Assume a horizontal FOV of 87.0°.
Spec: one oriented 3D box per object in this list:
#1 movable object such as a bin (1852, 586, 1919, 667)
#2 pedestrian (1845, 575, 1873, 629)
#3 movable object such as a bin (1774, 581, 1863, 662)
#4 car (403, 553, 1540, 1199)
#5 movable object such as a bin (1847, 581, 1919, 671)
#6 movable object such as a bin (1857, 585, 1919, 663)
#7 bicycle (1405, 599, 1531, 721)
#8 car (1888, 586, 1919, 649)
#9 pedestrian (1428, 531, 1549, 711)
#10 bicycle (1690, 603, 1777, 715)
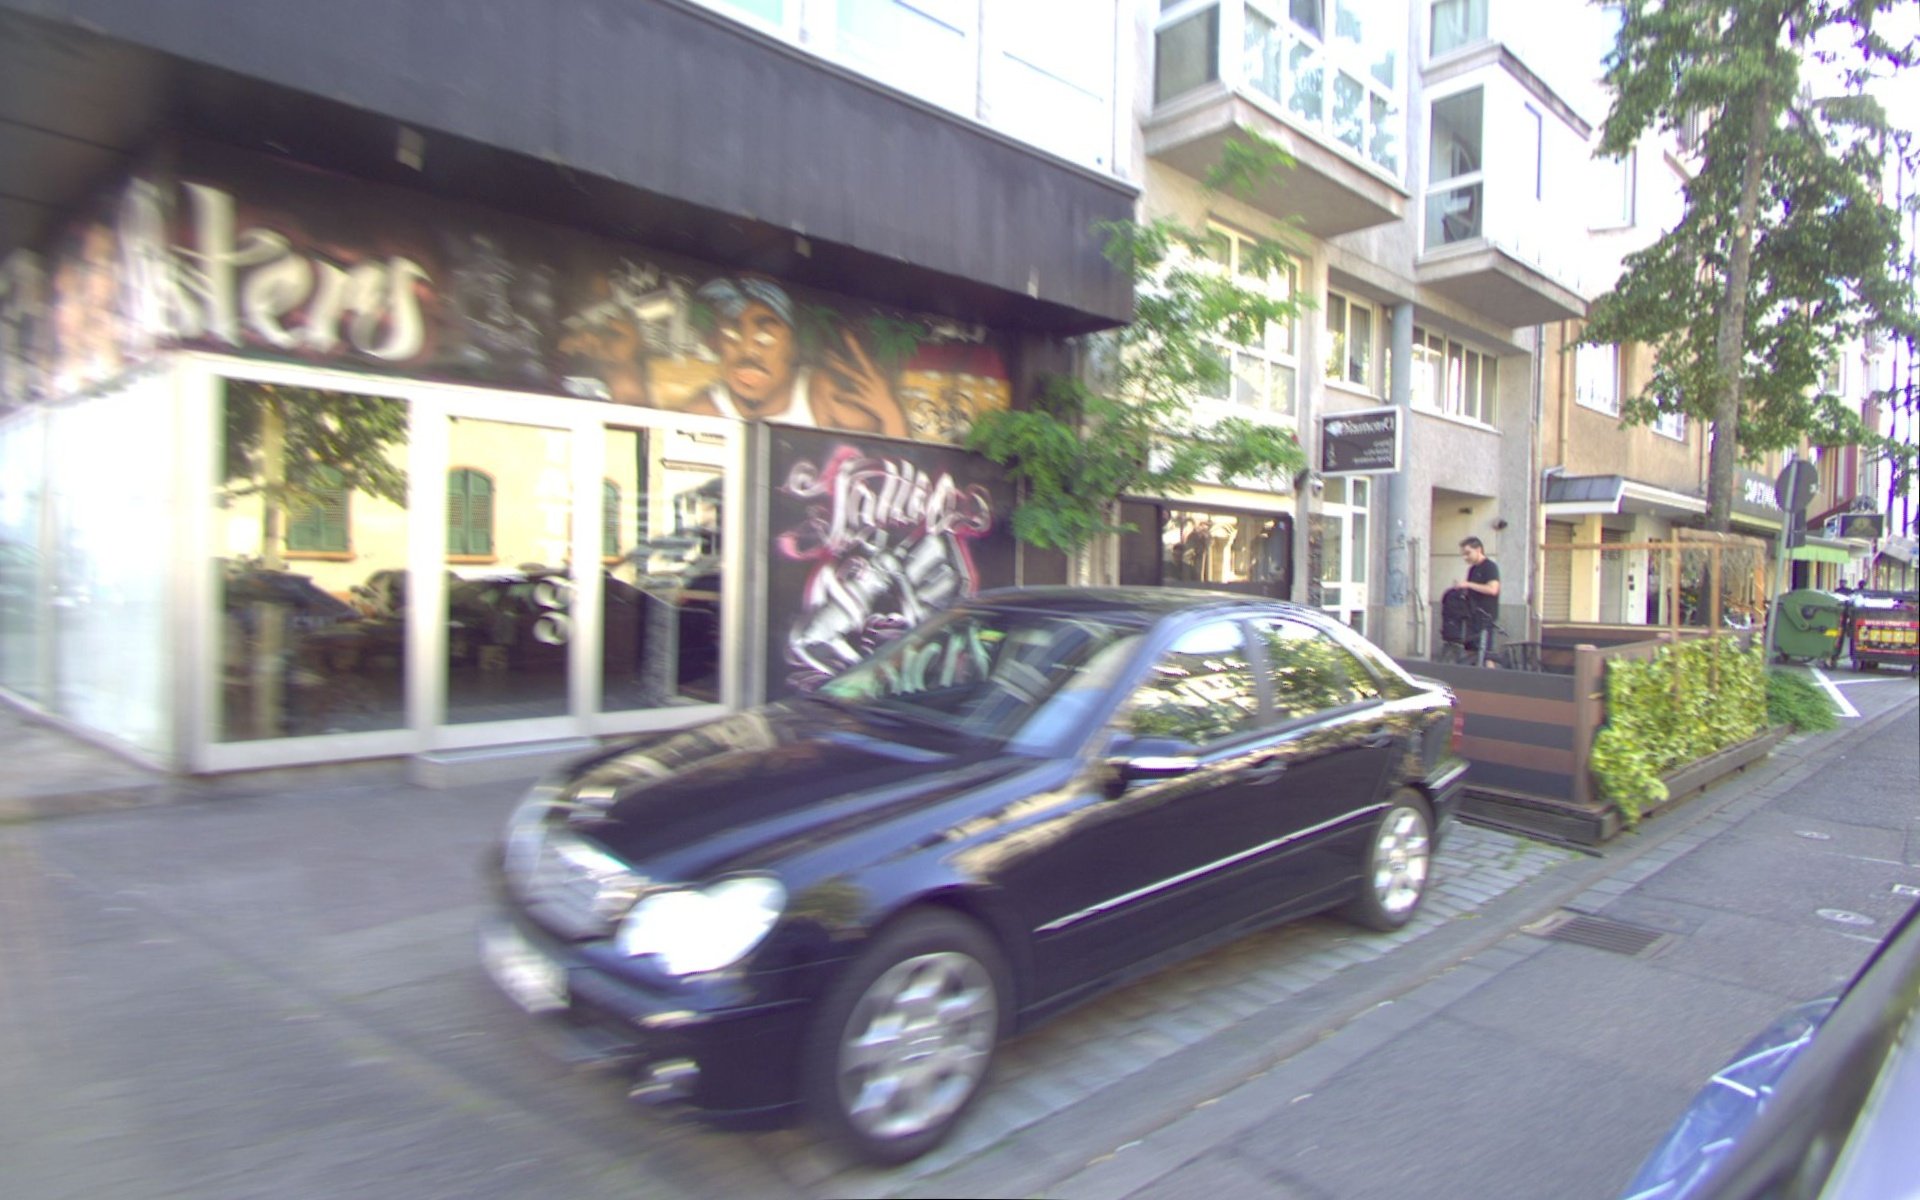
[{"bbox_3d":[18.031,0.484,19.267,1.126,1.472,1.402,0,2,-41],"label":"movable object such as a bin"},{"bbox_3d":[29.272,0.060,32.949,0.628,1.716,0.496,2,2,43],"label":"pedestrian"},{"bbox_3d":[16.362,0.384,19.296,1.272,1.449,1.079,0,2,-41],"label":"movable object such as a bin"},{"bbox_3d":[0.479,0.604,4.168,4.566,1.429,1.905,0,4,-41],"label":"car"},{"bbox_3d":[17.204,0.458,18.474,1.126,1.561,1.333,0,2,-41],"label":"movable object such as a bin"},{"bbox_3d":[18.845,0.463,20.075,1.126,1.472,1.402,0,2,-41],"label":"movable object such as a bin"},{"bbox_3d":[5.488,0.605,11.041,0.670,1.163,1.682,1,1,7],"label":"bicycle"},{"bbox_3d":[25.152,0.449,25.641,4.826,1.489,1.826,0,4,-41],"label":"car"},{"bbox_3d":[6.015,0.215,11.566,0.745,1.959,0.930,1,1,-16],"label":"pedestrian"},{"bbox_3d":[9.363,0.661,12.220,0.607,1.133,2.026,11,7,39],"label":"bicycle"}]
